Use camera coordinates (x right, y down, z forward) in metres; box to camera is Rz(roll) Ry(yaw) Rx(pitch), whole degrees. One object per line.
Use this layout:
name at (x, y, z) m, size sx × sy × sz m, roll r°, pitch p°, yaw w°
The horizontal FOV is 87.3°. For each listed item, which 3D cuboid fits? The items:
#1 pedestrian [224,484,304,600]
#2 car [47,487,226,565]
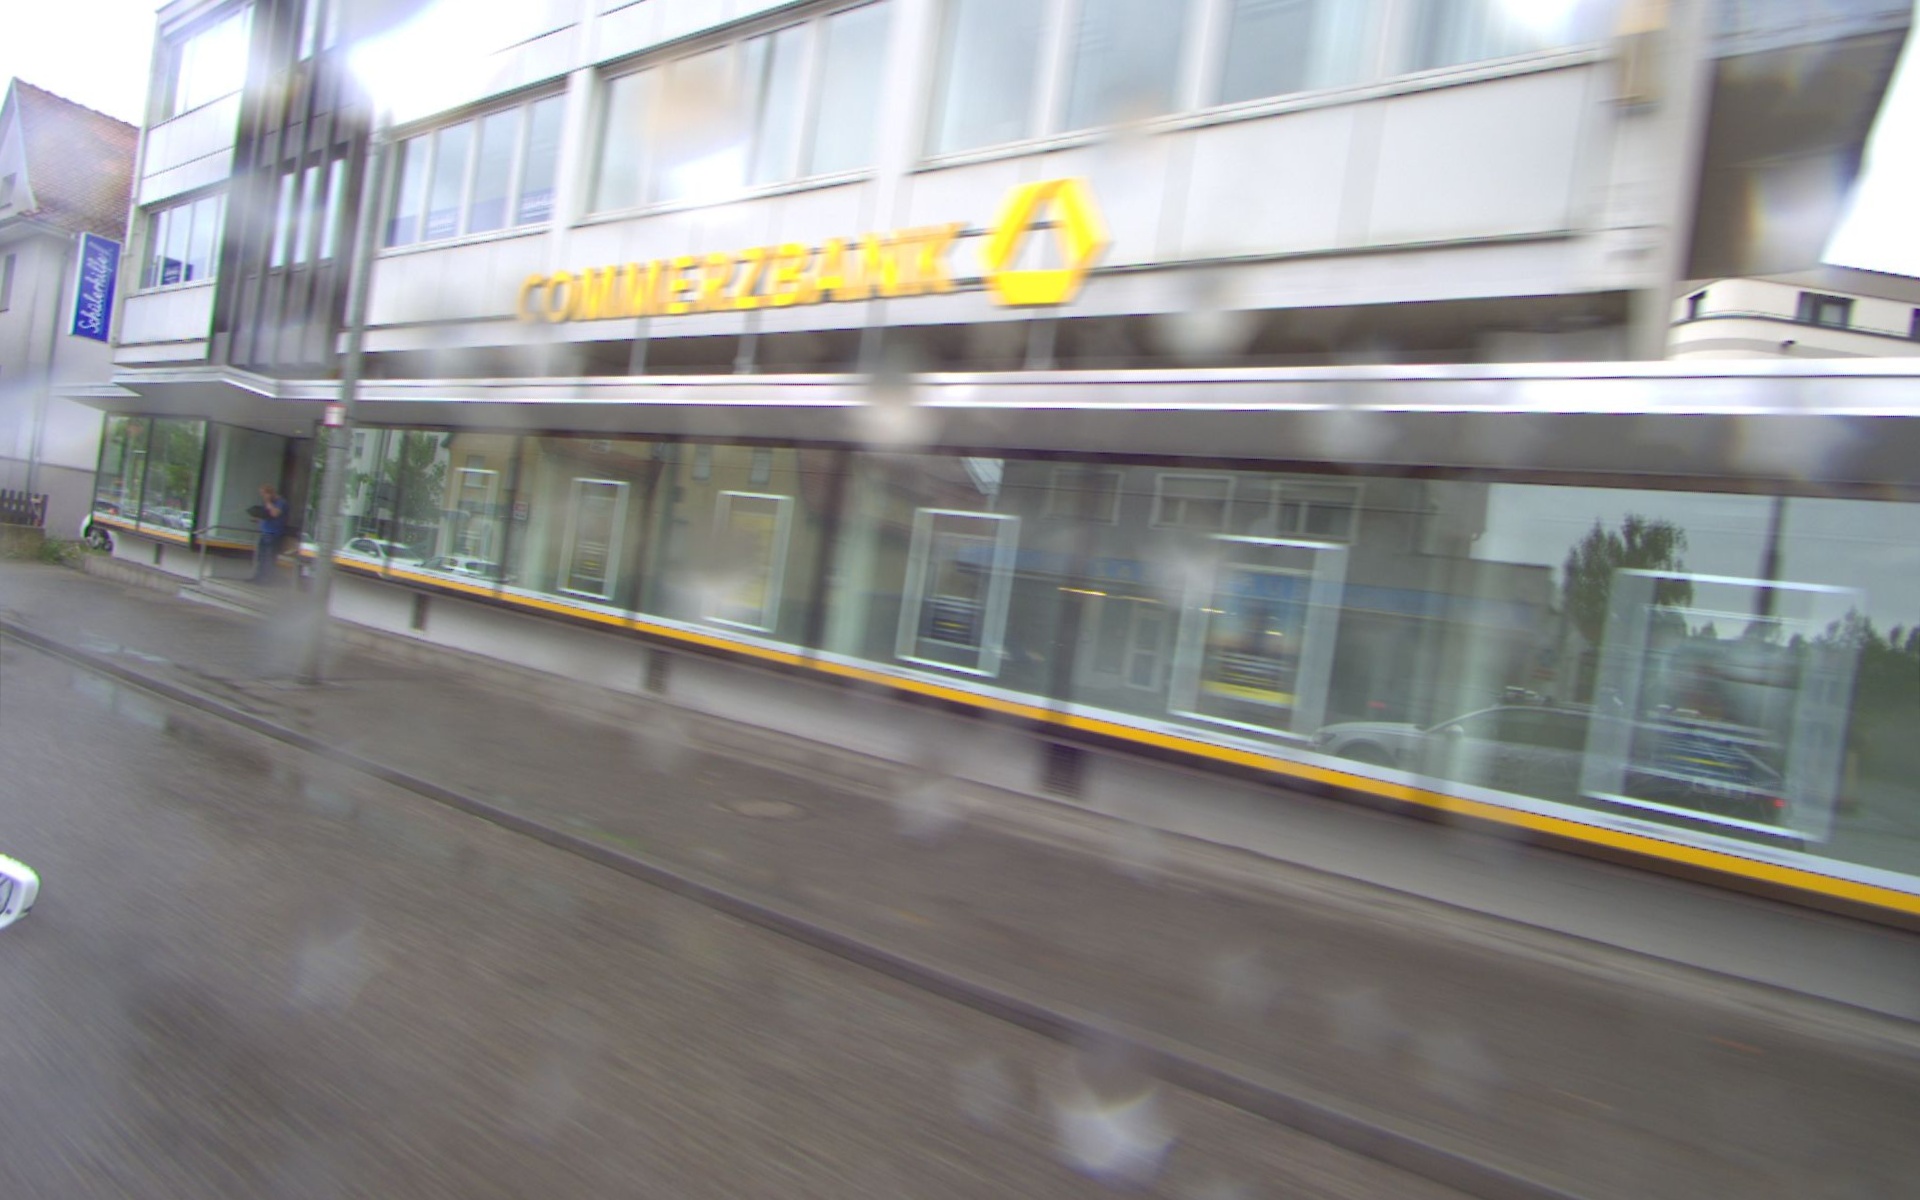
pedestrian at (-11.779, -0.986, 17.025) m, size 0.939 × 1.802 × 0.728 m, roll 8°, pitch 0°, yaw 41°
car at (-20.567, -1.832, 25.188) m, size 3.278 × 1.522 × 1.354 m, roll 6°, pitch 2°, yaw 0°
